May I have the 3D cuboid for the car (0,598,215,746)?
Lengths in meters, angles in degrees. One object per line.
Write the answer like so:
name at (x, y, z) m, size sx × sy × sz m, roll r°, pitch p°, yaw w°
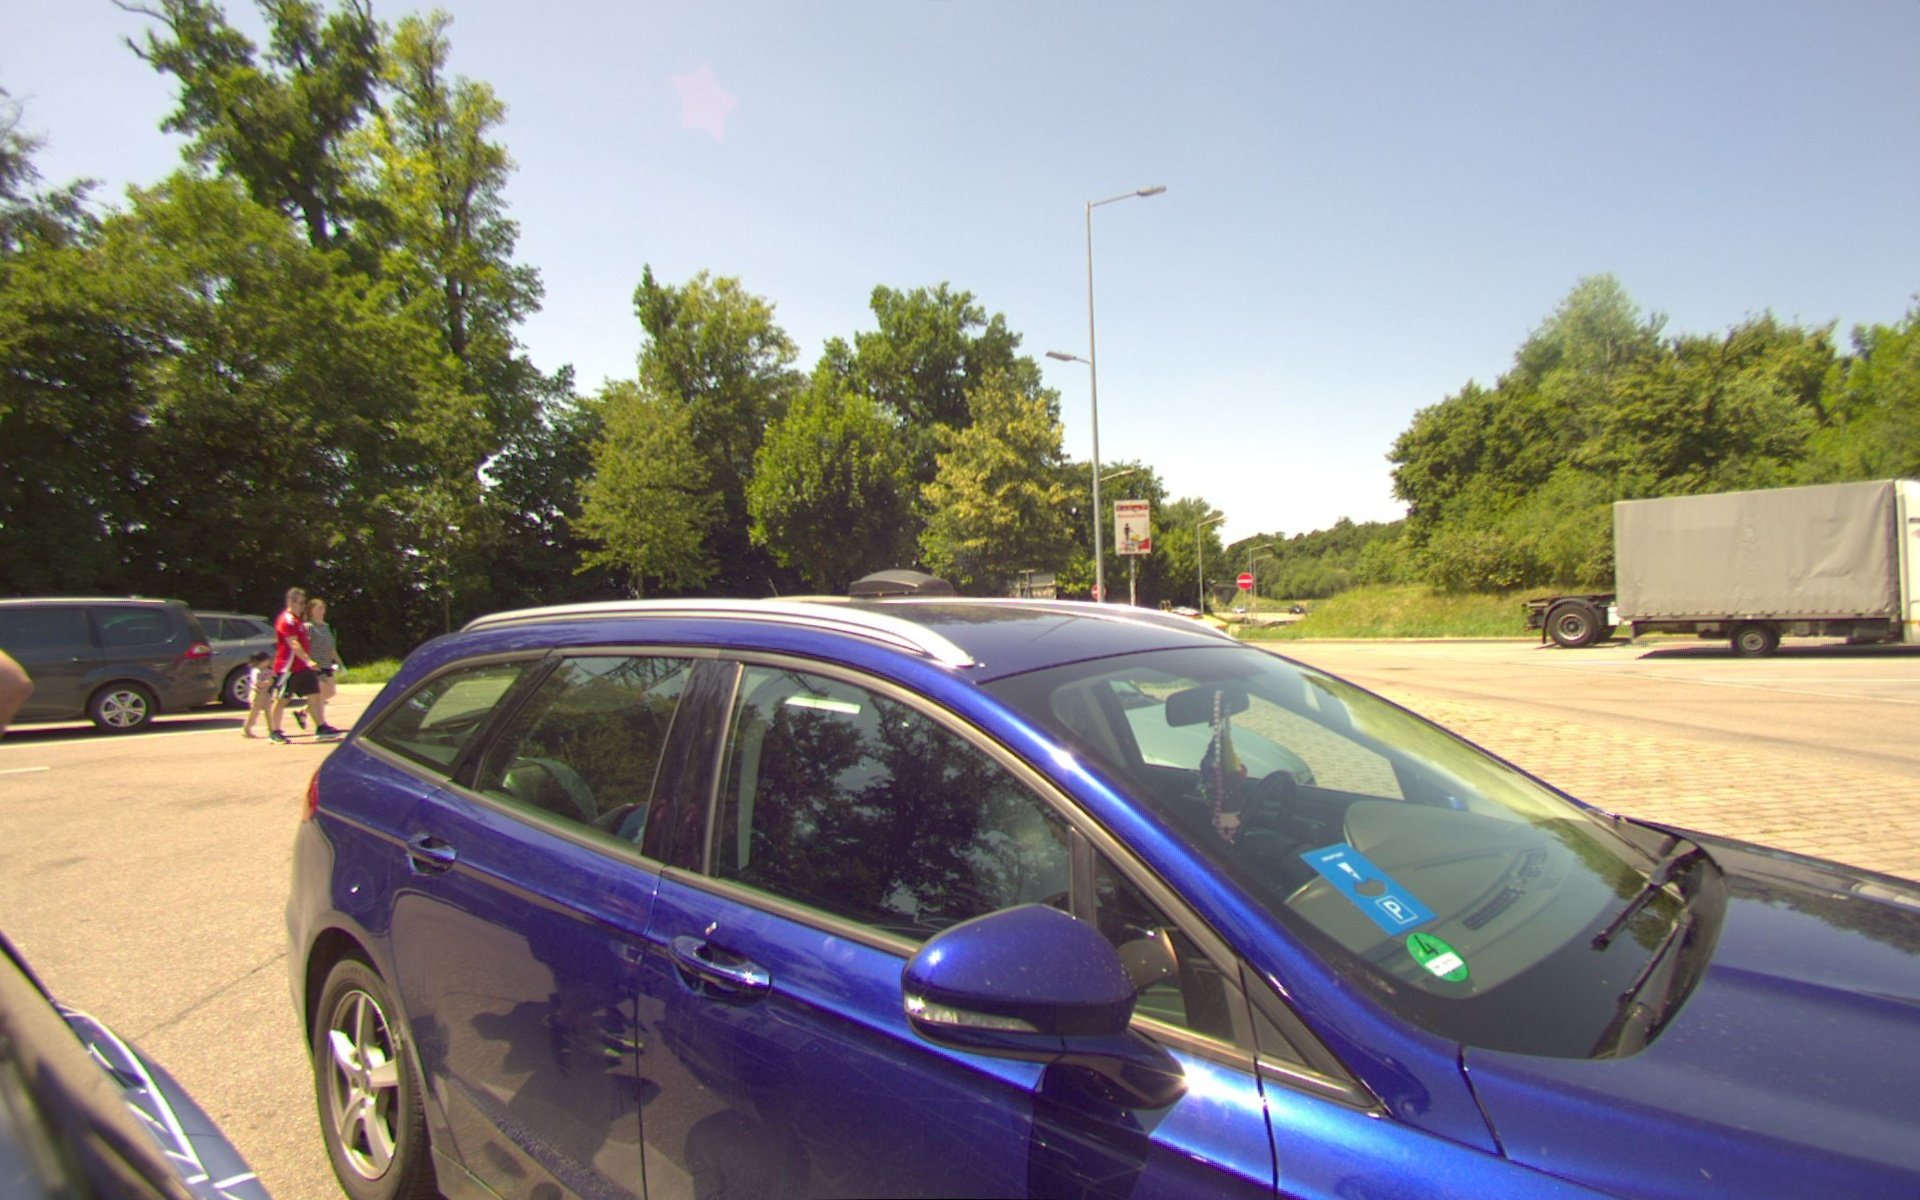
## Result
car at (-11.933, 0.859, 12.282) m, size 4.553 × 1.725 × 1.741 m, roll 0°, pitch -1°, yaw -41°

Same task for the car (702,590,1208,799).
car at (-0.236, 0.748, 9.192) m, size 4.490 × 1.437 × 1.754 m, roll -3°, pitch -1°, yaw 40°

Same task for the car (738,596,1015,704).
car at (-1.468, 0.825, 16.839) m, size 4.485 × 1.562 × 1.756 m, roll -3°, pitch -1°, yaw 36°

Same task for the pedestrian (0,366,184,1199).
pedestrian at (-2.041, 0.558, 1.829) m, size 0.849 × 1.847 × 0.864 m, roll -1°, pitch 0°, yaw -26°

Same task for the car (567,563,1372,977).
car at (-0.249, 0.692, 5.818) m, size 4.490 × 1.511 × 1.754 m, roll -3°, pitch -1°, yaw 40°

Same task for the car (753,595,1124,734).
car at (-0.377, 0.773, 12.739) m, size 4.485 × 1.437 × 1.756 m, roll -3°, pitch -1°, yaw 36°

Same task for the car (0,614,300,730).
car at (-12.587, 1.004, 15.446) m, size 1.687 × 1.515 × 3.943 m, roll -1°, pitch 0°, yaw 43°

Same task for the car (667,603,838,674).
car at (-5.446, 0.946, 27.161) m, size 1.992 × 1.725 × 4.570 m, roll -1°, pitch 0°, yaw 30°

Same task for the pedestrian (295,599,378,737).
pedestrian at (-7.879, 0.831, 12.787) m, size 0.820 × 1.676 × 0.677 m, roll 0°, pitch -1°, yaw -37°

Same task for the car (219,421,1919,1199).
car at (0.263, 0.659, 2.119) m, size 4.490 × 1.502 × 1.851 m, roll -3°, pitch 0°, yaw 40°

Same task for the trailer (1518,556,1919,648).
trailer at (17.262, 0.123, 23.374) m, size 7.295 × 1.701 × 2.235 m, roll -4°, pitch -1°, yaw 43°

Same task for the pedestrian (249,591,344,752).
pedestrian at (-7.555, 0.788, 11.551) m, size 0.819 × 1.746 × 0.678 m, roll -1°, pitch -1°, yaw -26°

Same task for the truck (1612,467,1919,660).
truck at (16.836, -0.658, 18.946) m, size 7.295 × 3.259 × 2.709 m, roll -4°, pitch -1°, yaw 43°

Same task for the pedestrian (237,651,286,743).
pedestrian at (-8.375, 1.148, 12.144) m, size 0.427 × 1.052 × 0.441 m, roll -1°, pitch -1°, yaw -28°
